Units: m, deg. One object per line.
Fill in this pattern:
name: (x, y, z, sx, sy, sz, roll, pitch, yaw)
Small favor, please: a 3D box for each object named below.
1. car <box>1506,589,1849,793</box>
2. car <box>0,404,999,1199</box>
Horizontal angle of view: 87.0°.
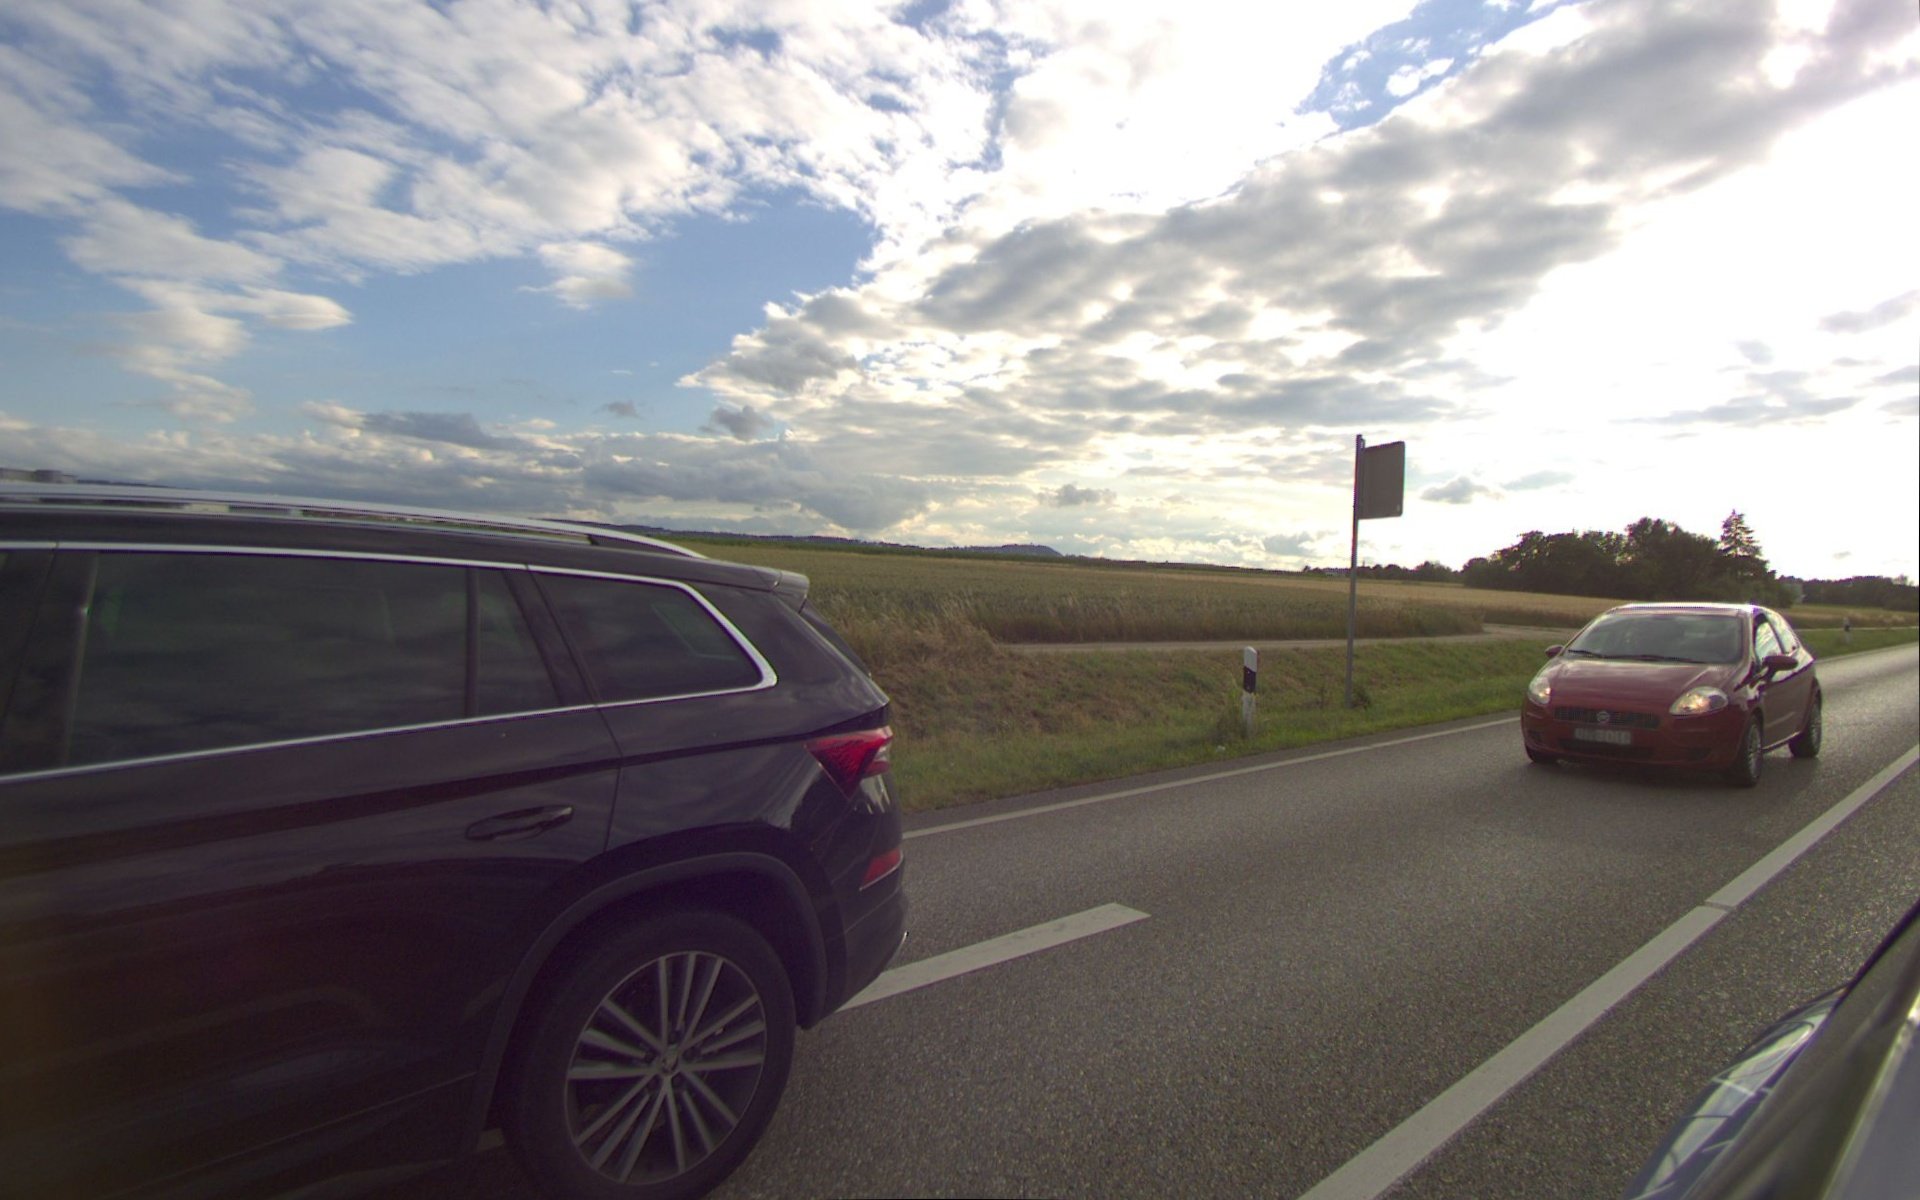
car: (6.696, 0.648, 9.298, 3.840, 1.475, 1.710, -1, 0, -41)
car: (-2.172, 0.553, 2.261, 4.477, 1.730, 1.839, -1, 0, -41)
